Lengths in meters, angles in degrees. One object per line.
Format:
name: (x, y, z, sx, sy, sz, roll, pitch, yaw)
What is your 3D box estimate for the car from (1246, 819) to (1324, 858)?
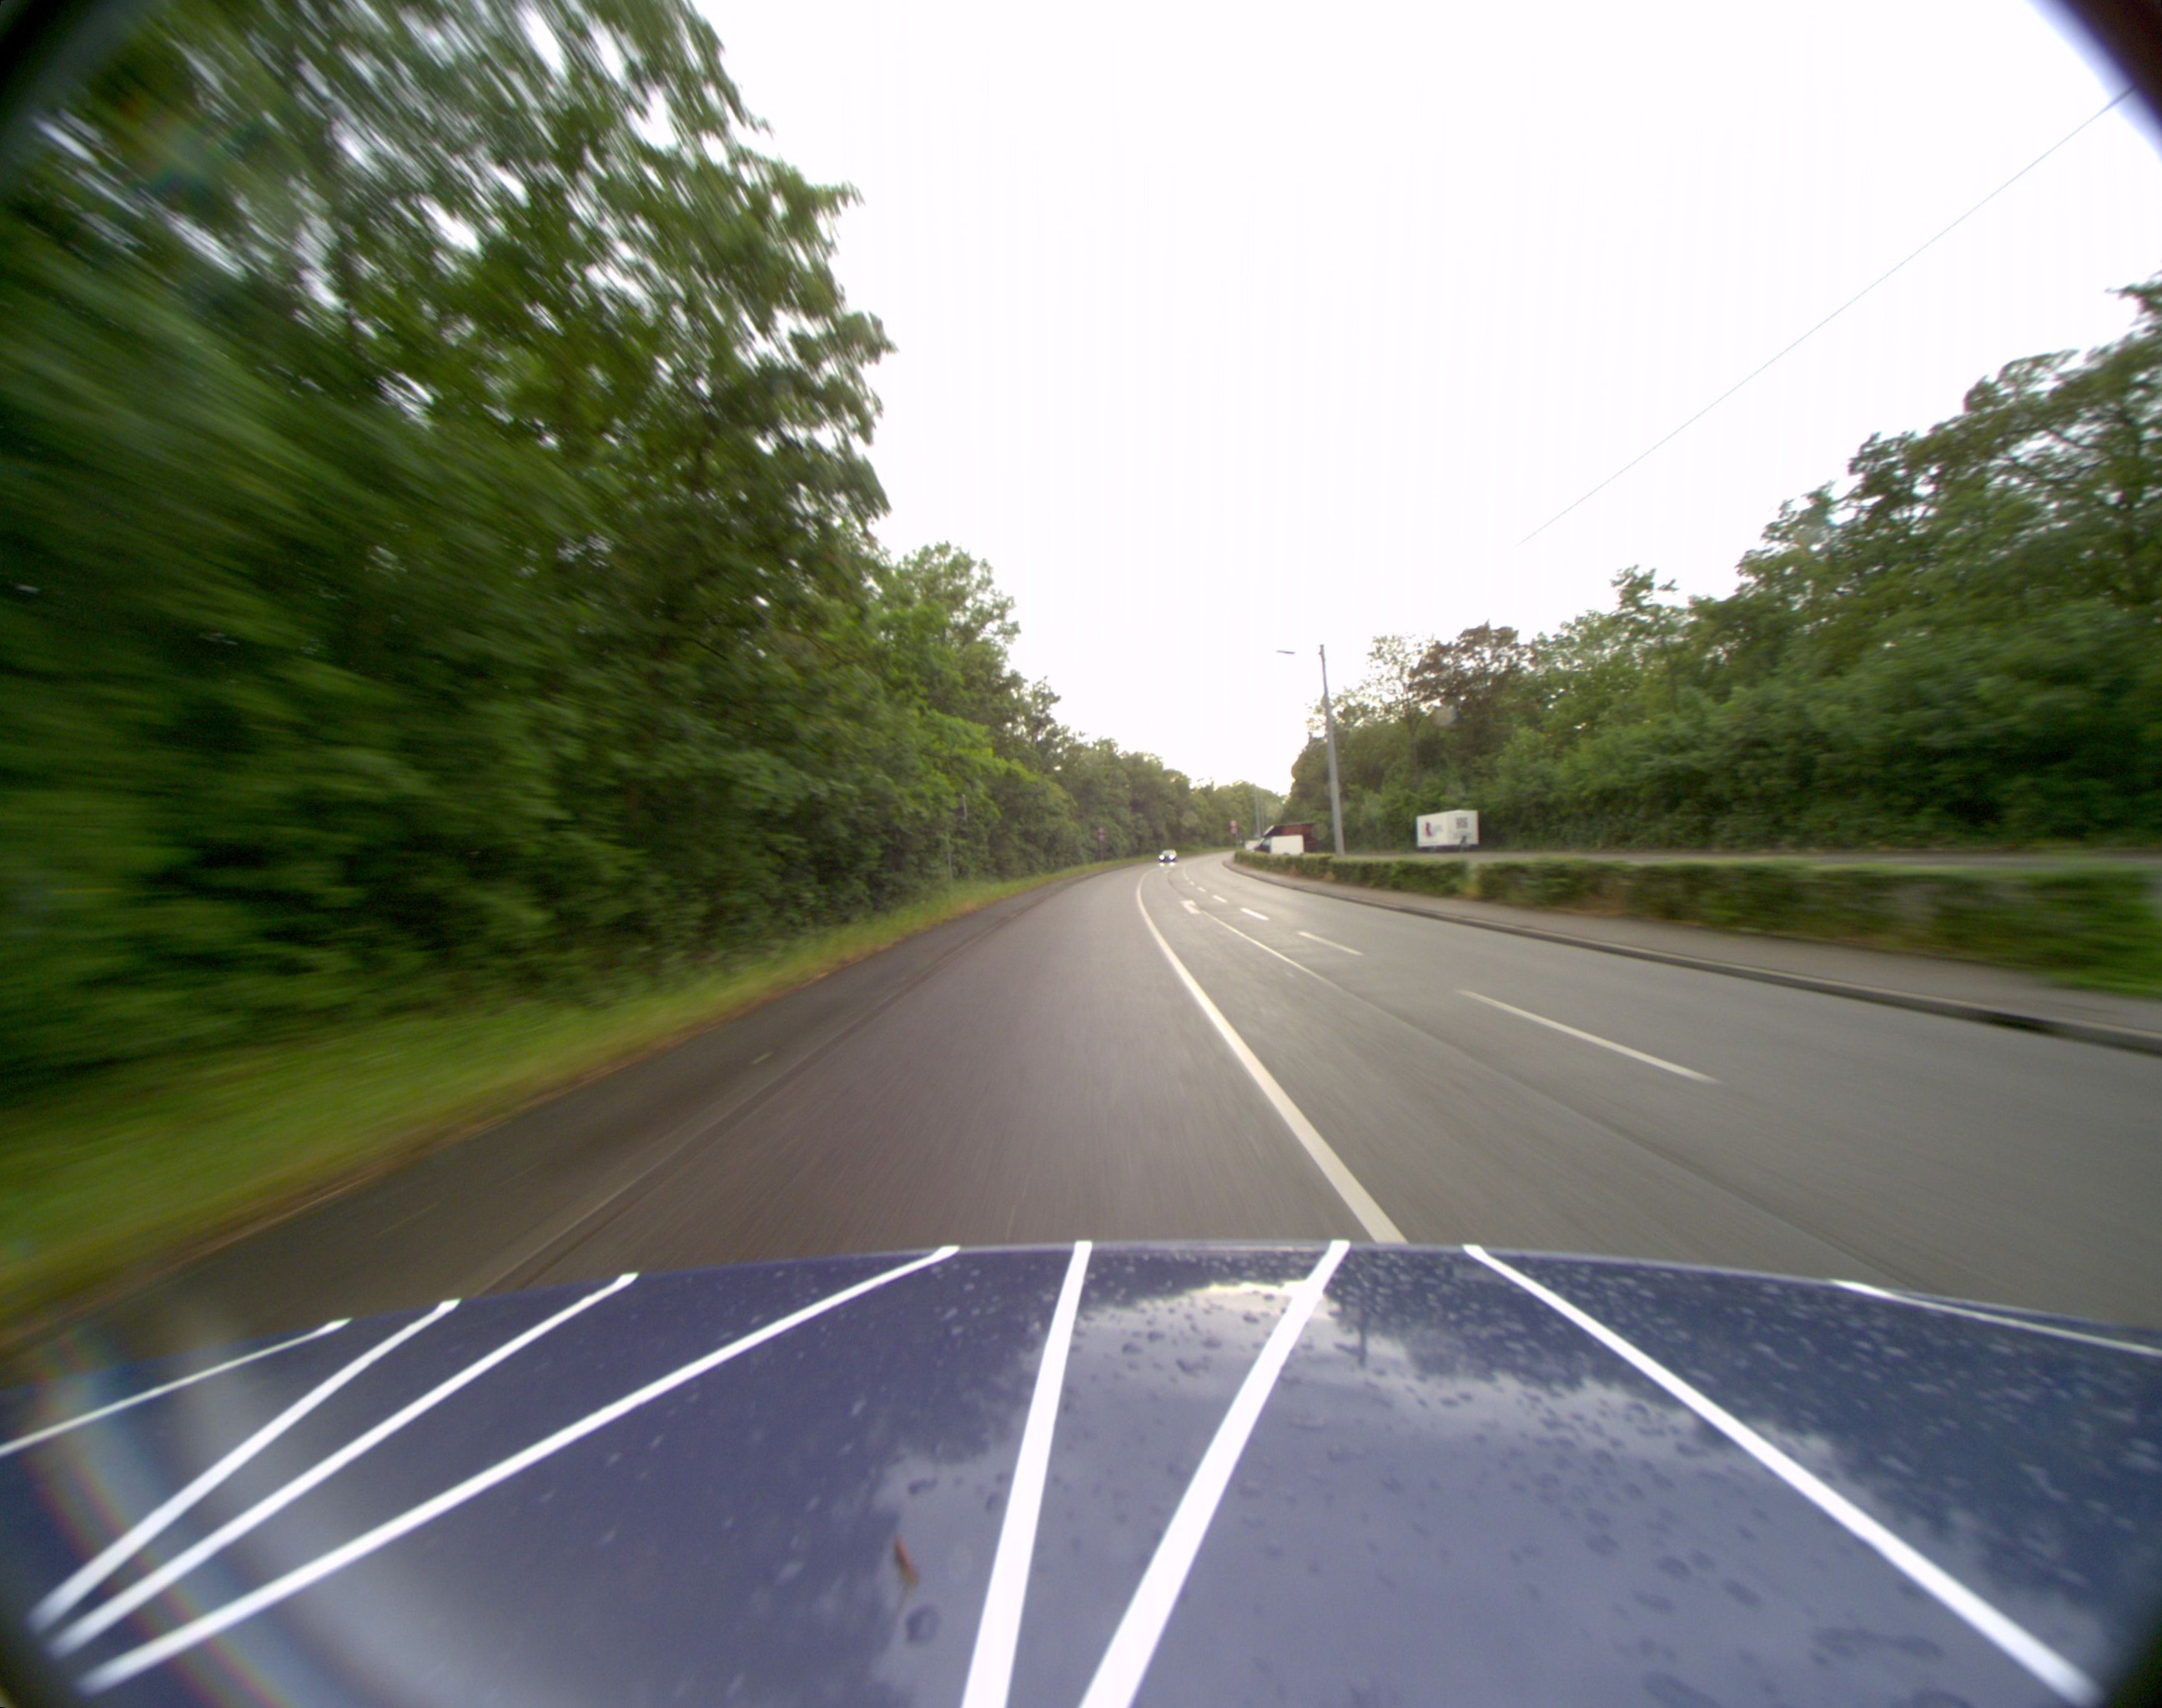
car: (18.221, -1.378, 68.106, 6.285, 3.096, 2.752, -3, 2, 6)

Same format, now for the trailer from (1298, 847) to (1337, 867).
trailer: (13.204, 0.164, 42.481, 1.805, 1.028, 1.334, -3, 1, 3)

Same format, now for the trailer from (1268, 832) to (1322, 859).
trailer: (17.607, -0.698, 62.708, 3.994, 2.041, 1.874, -2, 1, 9)

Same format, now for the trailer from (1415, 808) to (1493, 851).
trailer: (27.136, -1.721, 55.721, 2.481, 2.857, 7.979, -2, 1, 6)

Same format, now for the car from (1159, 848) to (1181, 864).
car: (10.429, 0.210, 89.093, 1.996, 1.674, 4.003, -2, 1, 14)
